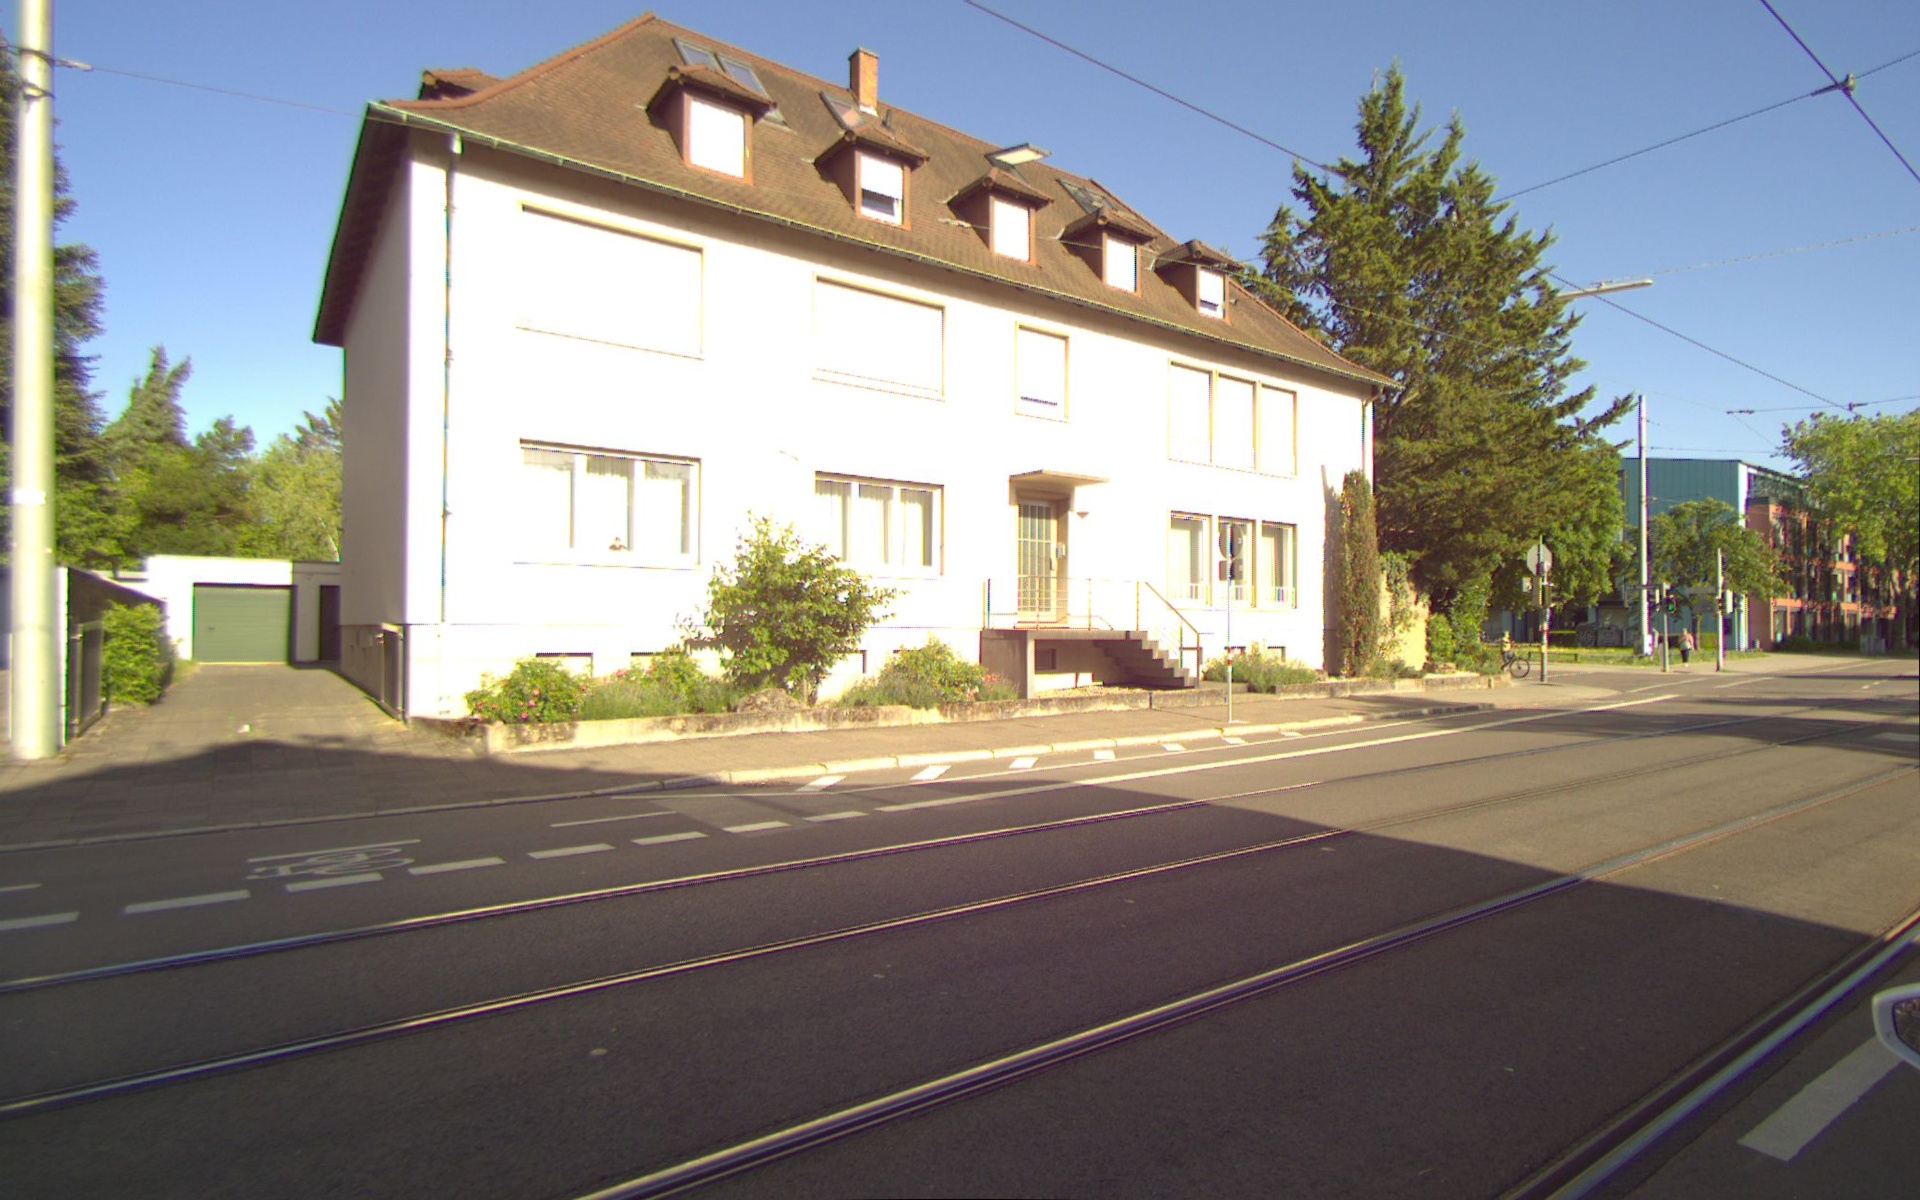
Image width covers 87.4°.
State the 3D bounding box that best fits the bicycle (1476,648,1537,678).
[{"bbox_3d":[19.541,2.236,35.955,0.531,1.028,1.938,1,-2,-28],"label":"bicycle"}]

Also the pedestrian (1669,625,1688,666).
[{"bbox_3d":[30.947,1.954,43.292,0.601,1.712,0.731,2,1,36],"label":"pedestrian"}]

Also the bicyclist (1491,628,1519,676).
[{"bbox_3d":[19.532,1.859,35.989,0.531,1.707,0.677,1,-2,-28],"label":"bicyclist"}]
